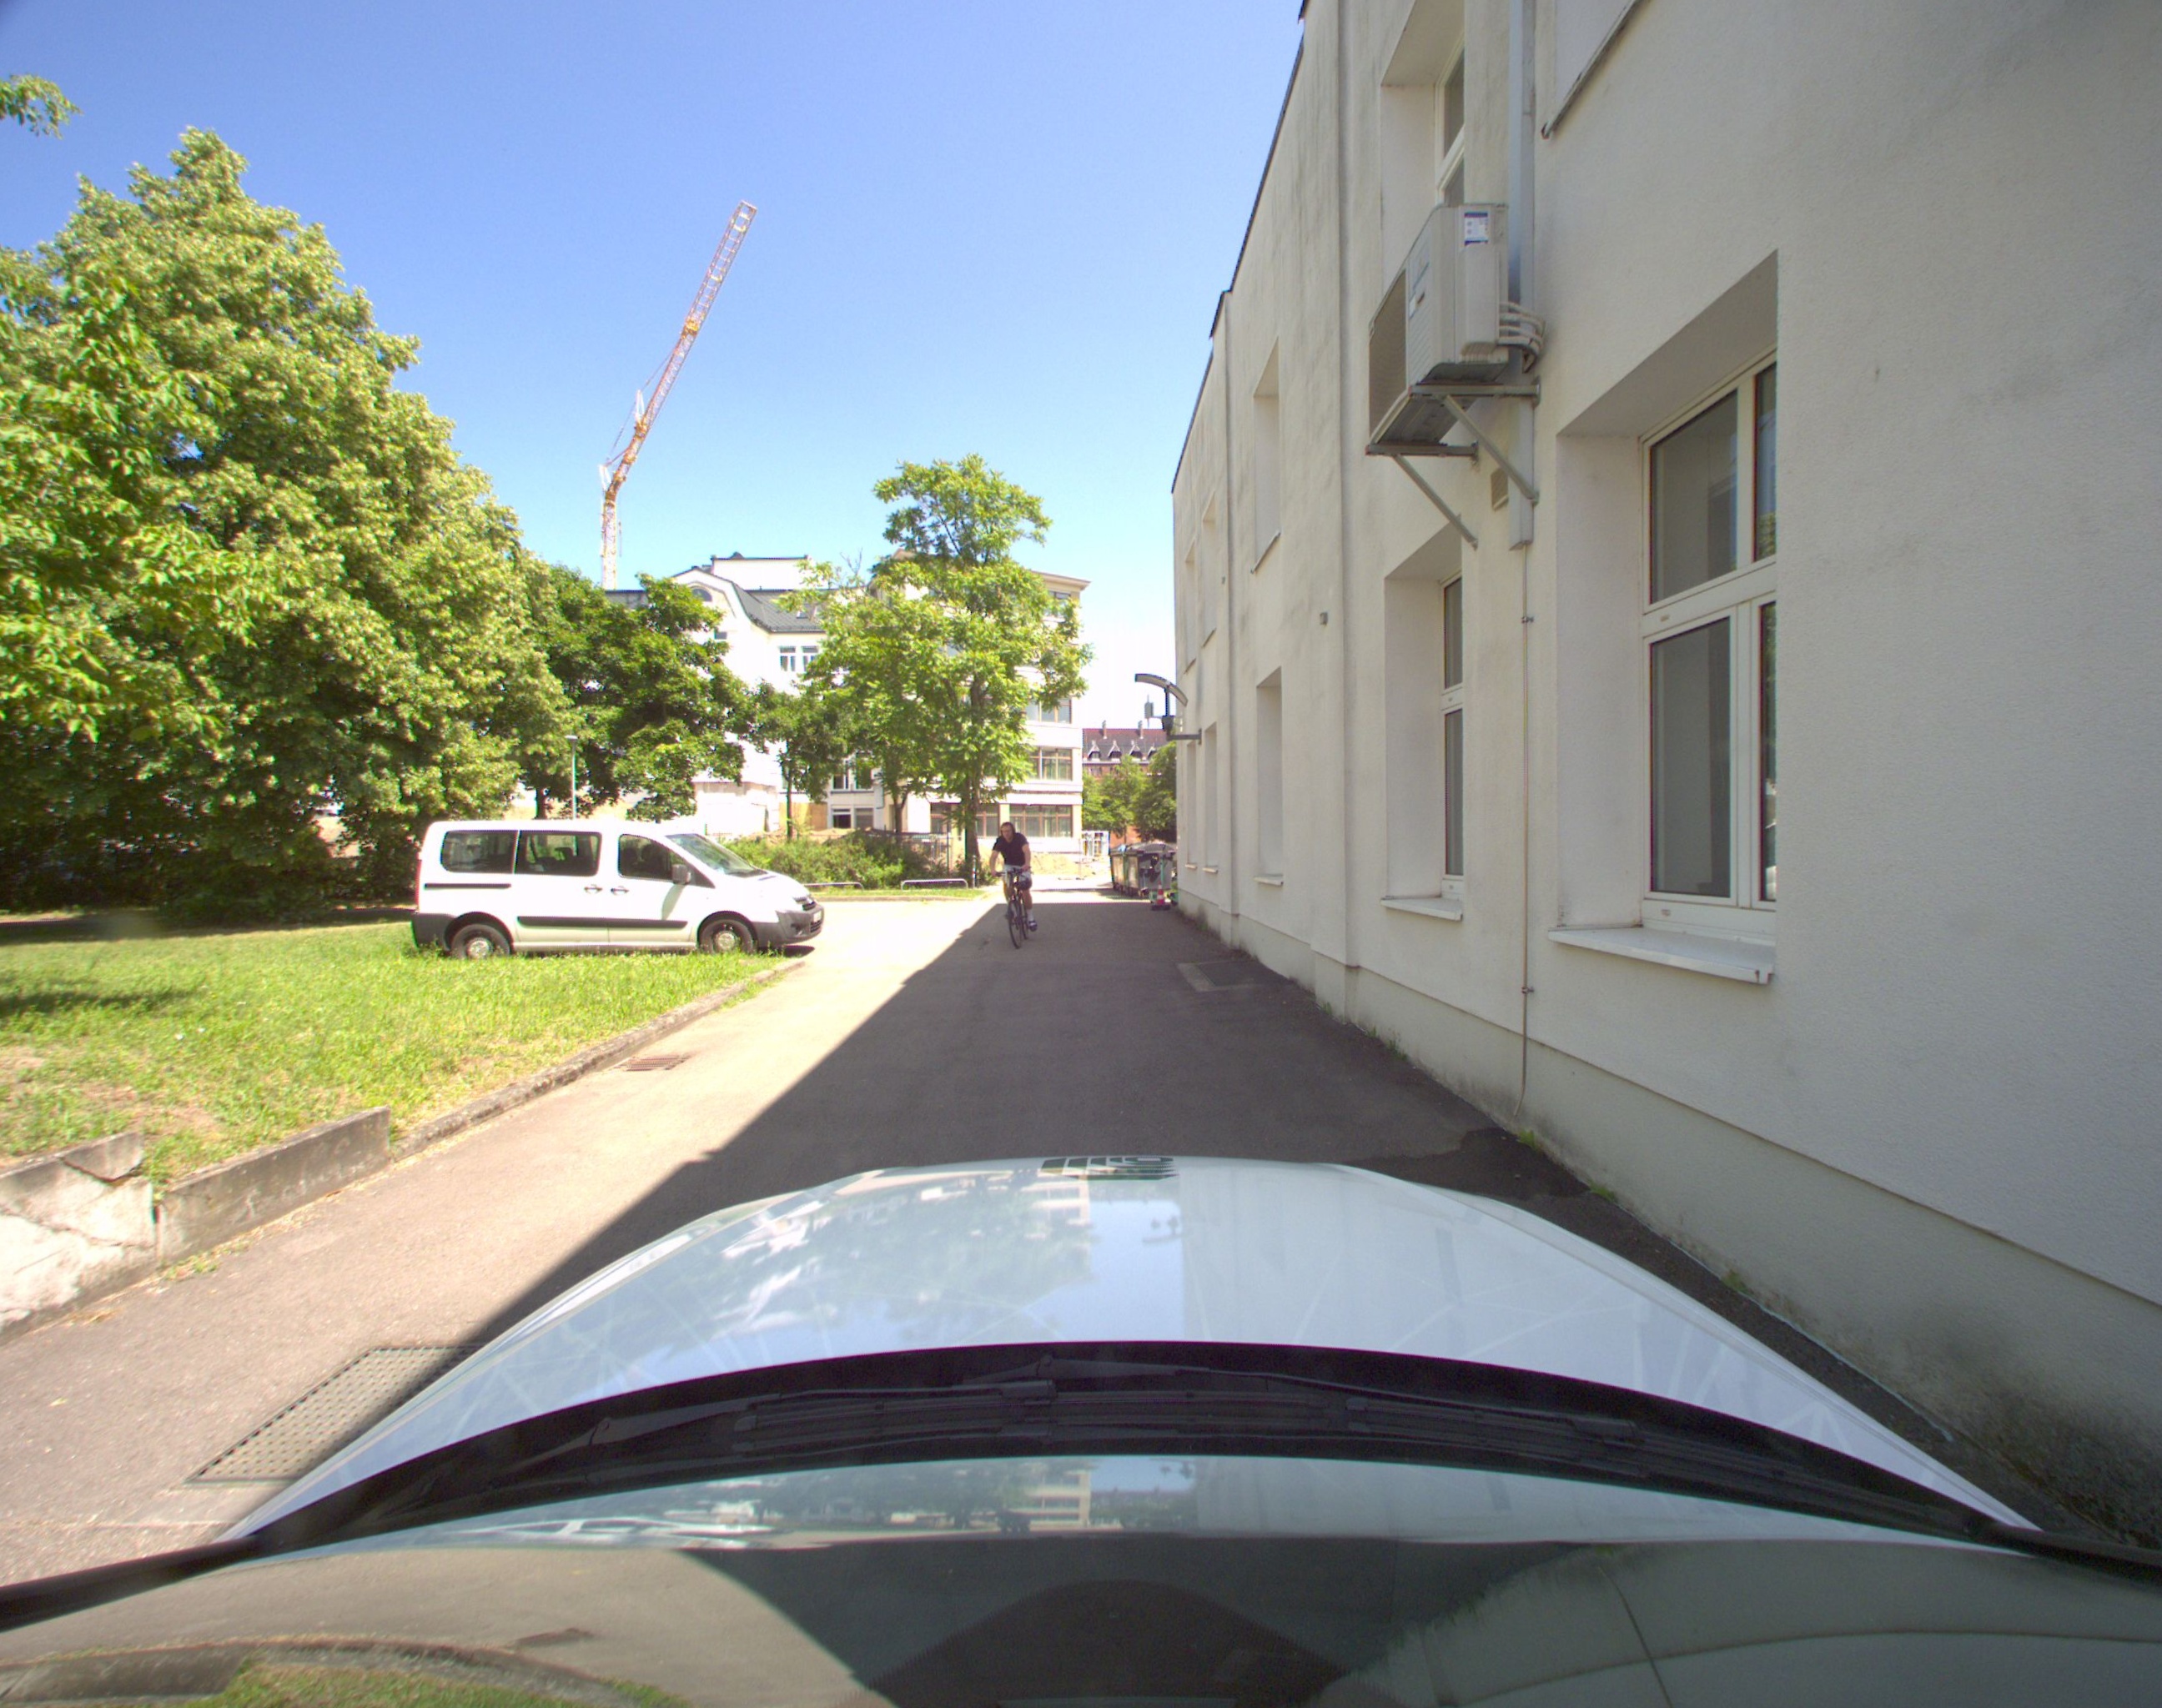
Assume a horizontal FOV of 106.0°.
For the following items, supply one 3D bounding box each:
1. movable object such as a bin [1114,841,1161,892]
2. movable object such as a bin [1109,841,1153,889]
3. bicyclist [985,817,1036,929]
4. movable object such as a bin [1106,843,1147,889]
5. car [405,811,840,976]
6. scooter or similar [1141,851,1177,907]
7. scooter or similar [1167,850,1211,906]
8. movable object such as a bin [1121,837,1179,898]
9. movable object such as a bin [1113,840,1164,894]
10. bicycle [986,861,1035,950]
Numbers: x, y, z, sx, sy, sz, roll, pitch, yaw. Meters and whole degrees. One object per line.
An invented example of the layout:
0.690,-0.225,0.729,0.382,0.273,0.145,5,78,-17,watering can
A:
1.656,0.370,24.101,1.177,1.470,1.309,-1,-1,-5,movable object such as a bin
1.559,0.347,25.540,1.177,1.470,1.308,0,-1,-7,movable object such as a bin
-1.042,0.266,12.282,0.721,1.609,0.977,0,0,-3,bicyclist
1.519,0.390,27.077,1.171,1.470,1.337,-1,-1,10,movable object such as a bin
-6.021,0.474,11.294,4.782,1.911,1.996,-2,0,-6,car
1.726,0.535,18.174,0.463,1.174,1.353,-1,0,-9,scooter or similar
2.372,0.509,17.979,0.465,1.174,1.248,-1,0,-18,scooter or similar
1.751,0.348,20.985,1.155,1.505,1.457,0,-1,-10,movable object such as a bin
1.575,0.355,22.714,1.178,1.470,1.308,0,-1,-7,movable object such as a bin
-1.035,0.726,12.301,0.642,1.174,1.903,-1,1,-3,bicycle
